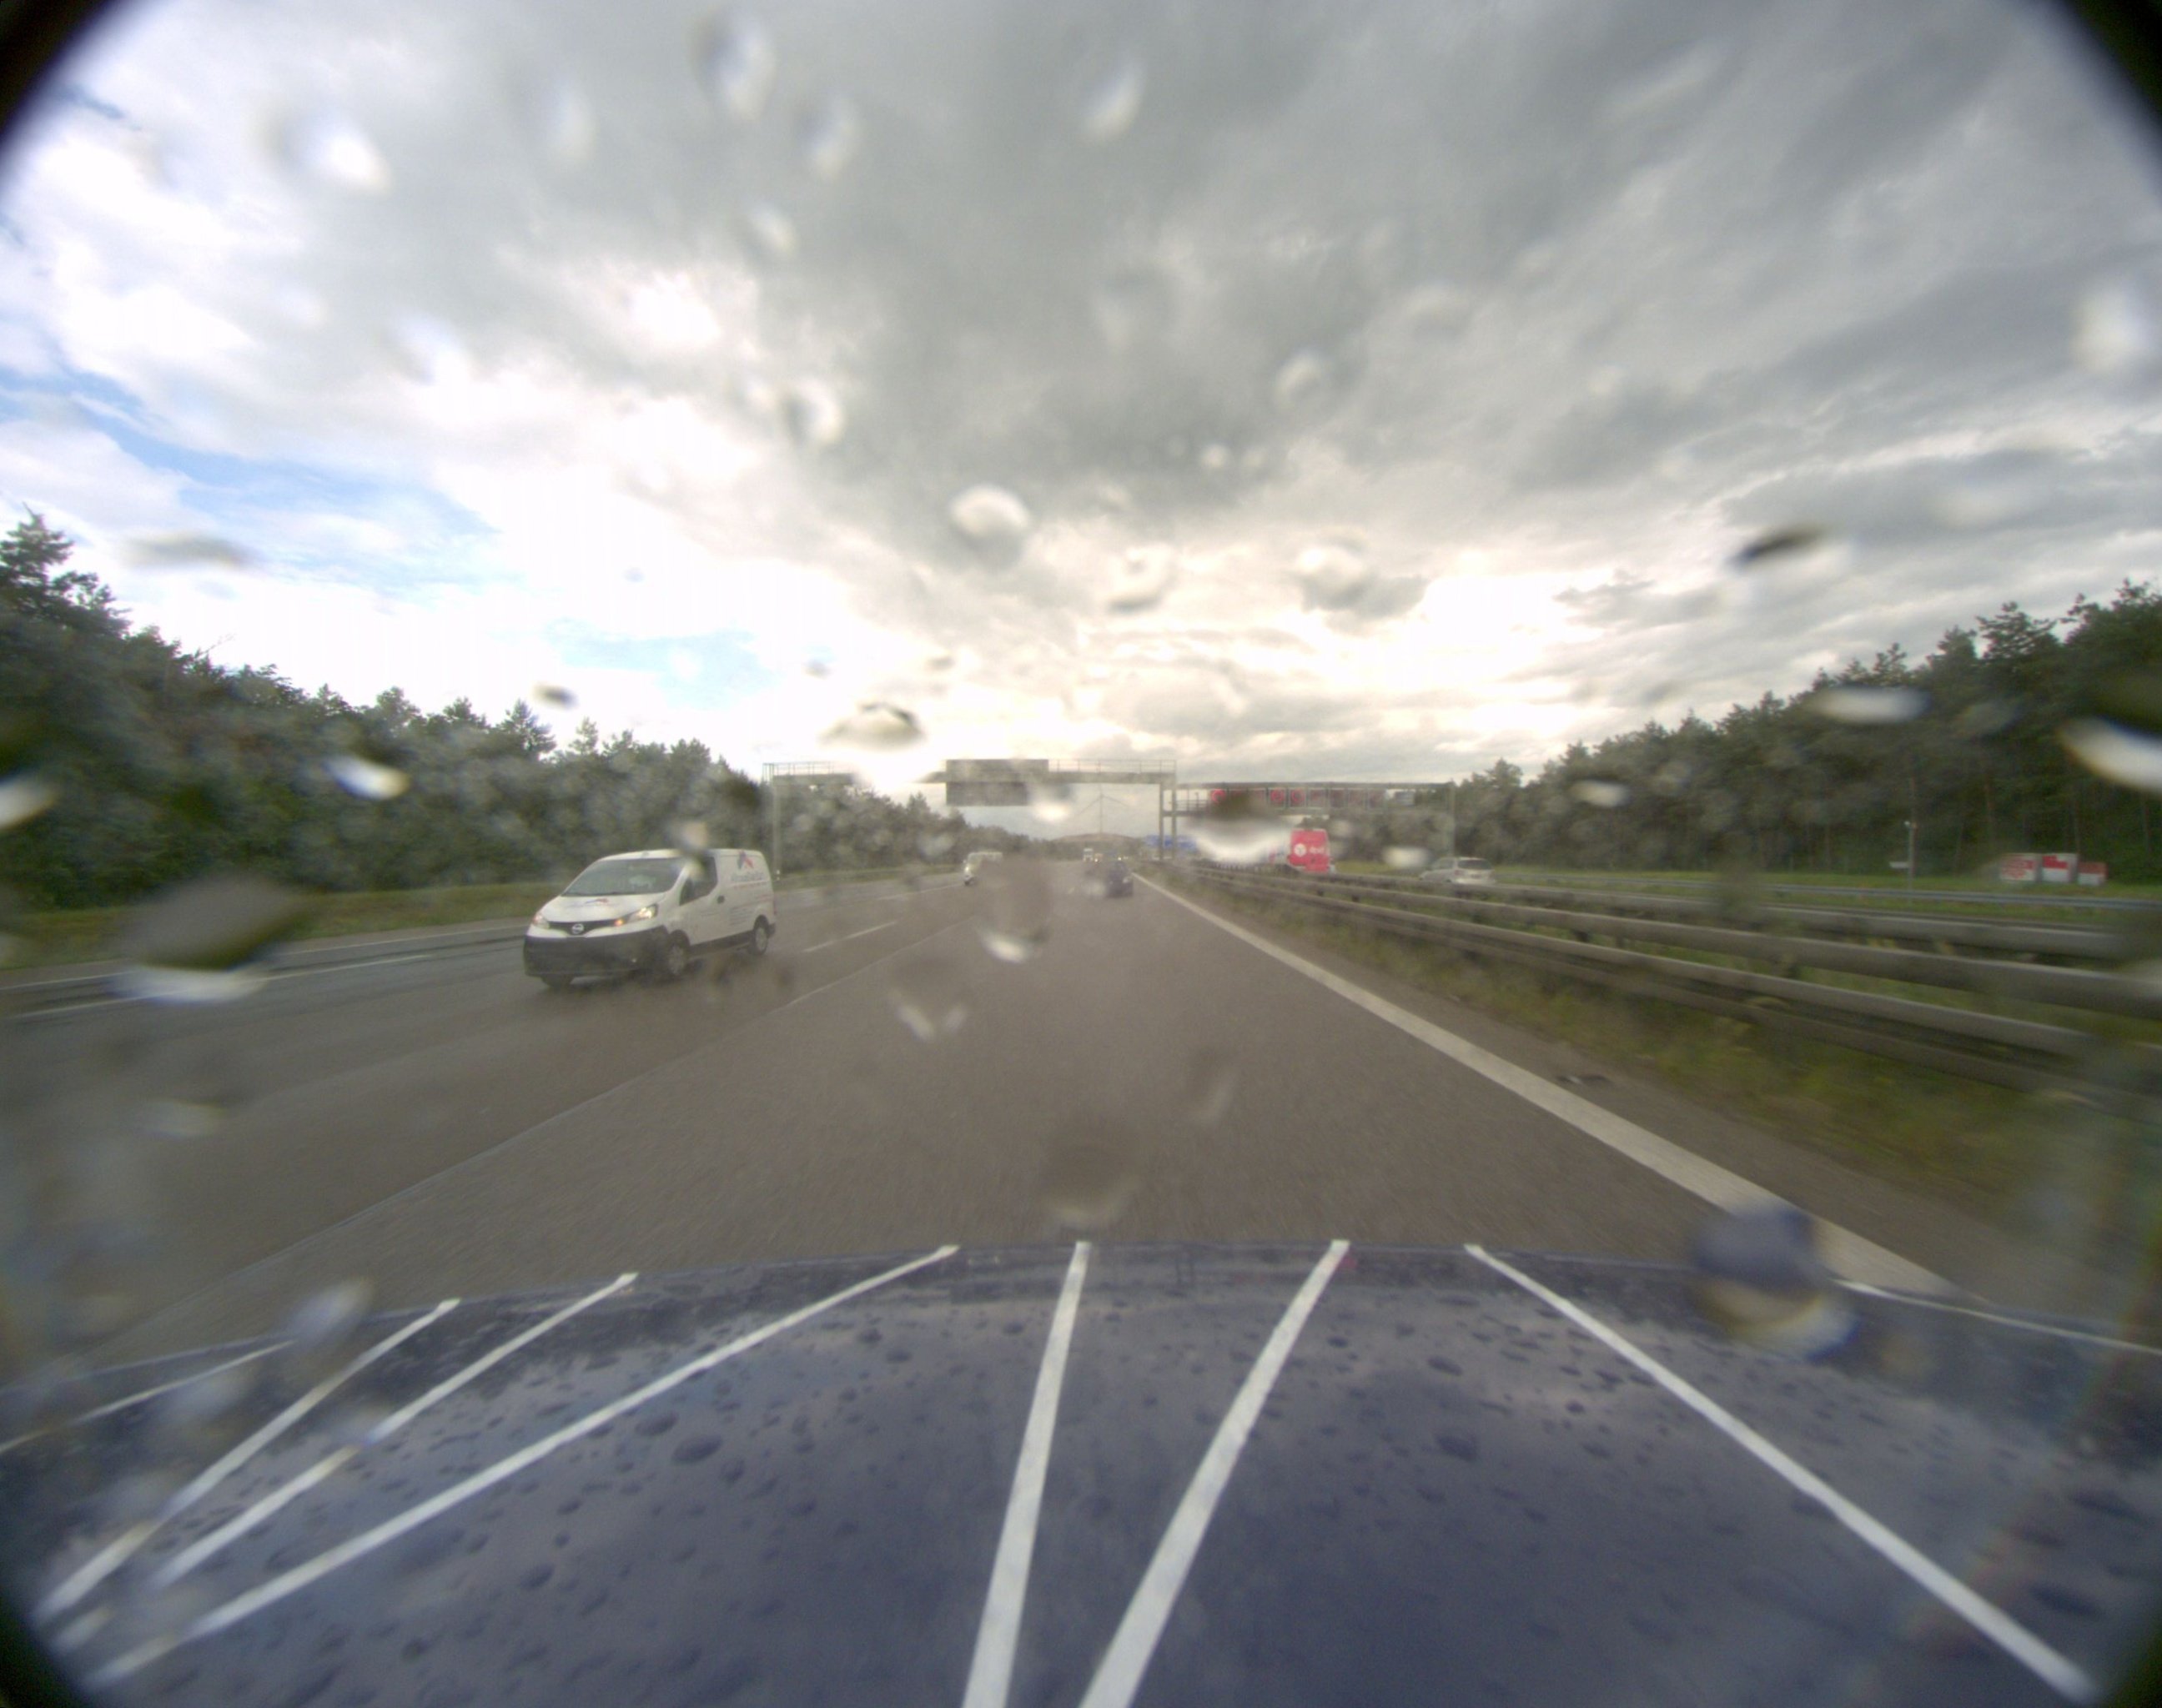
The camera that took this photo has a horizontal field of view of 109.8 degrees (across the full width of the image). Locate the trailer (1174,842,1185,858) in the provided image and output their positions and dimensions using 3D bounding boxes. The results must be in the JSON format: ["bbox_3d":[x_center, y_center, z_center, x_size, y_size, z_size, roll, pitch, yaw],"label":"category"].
[{"bbox_3d":[28.134,-1.138,217.462,2.102,4.216,14.627,-3,0,3],"label":"trailer"}]

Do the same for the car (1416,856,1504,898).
[{"bbox_3d":[15.275,0.868,30.827,1.756,1.570,3.954,-1,0,3],"label":"car"}]

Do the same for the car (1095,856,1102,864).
[{"bbox_3d":[4.728,1.547,204.673,1.998,2.002,4.000,0,0,1],"label":"car"}]

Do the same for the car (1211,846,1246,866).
[{"bbox_3d":[11.787,0.184,60.881,1.872,1.521,5.320,0,0,1],"label":"car"}]

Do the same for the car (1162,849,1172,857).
[{"bbox_3d":[22.771,-0.349,202.025,2.288,2.002,6.741,-3,0,4],"label":"car"}]

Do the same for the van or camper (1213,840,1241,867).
[{"bbox_3d":[17.307,-0.091,90.429,2.306,3.094,7.545,0,0,4],"label":"van or camper"}]

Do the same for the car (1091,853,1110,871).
[{"bbox_3d":[2.283,0.925,88.786,1.998,2.002,4.001,-2,0,3],"label":"car"}]

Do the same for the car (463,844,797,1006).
[{"bbox_3d":[-6.286,0.844,11.488,1.968,1.890,4.882,-1,0,2],"label":"car"}]

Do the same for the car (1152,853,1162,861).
[{"bbox_3d":[17.616,0.728,176.149,1.902,1.857,4.898,0,0,1],"label":"car"}]

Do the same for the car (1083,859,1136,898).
[{"bbox_3d":[1.193,0.914,29.793,1.809,1.321,4.433,-2,0,4],"label":"car"}]

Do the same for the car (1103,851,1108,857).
[{"bbox_3d":[8.442,0.126,261.874,1.998,2.002,4.000,0,0,1],"label":"car"}]

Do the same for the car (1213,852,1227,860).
[{"bbox_3d":[23.028,0.272,125.821,1.629,1.250,3.842,-1,0,1],"label":"car"}]

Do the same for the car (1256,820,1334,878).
[{"bbox_3d":[10.657,-0.228,38.515,2.138,2.646,6.674,0,0,1],"label":"car"}]

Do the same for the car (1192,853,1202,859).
[{"bbox_3d":[27.179,0.431,177.699,1.676,1.451,4.562,0,0,2],"label":"car"}]

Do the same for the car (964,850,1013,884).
[{"bbox_3d":[-5.762,0.774,48.191,1.998,2.002,5.484,-2,0,4],"label":"car"}]

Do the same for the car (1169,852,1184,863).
[{"bbox_3d":[13.150,0.472,104.894,1.698,1.506,4.000,-1,0,1],"label":"car"}]

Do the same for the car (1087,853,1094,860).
[{"bbox_3d":[2.724,0.793,223.511,1.998,2.002,4.000,0,0,1],"label":"car"}]

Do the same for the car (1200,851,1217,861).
[{"bbox_3d":[18.019,0.327,107.473,1.748,1.368,4.000,0,0,1],"label":"car"}]
